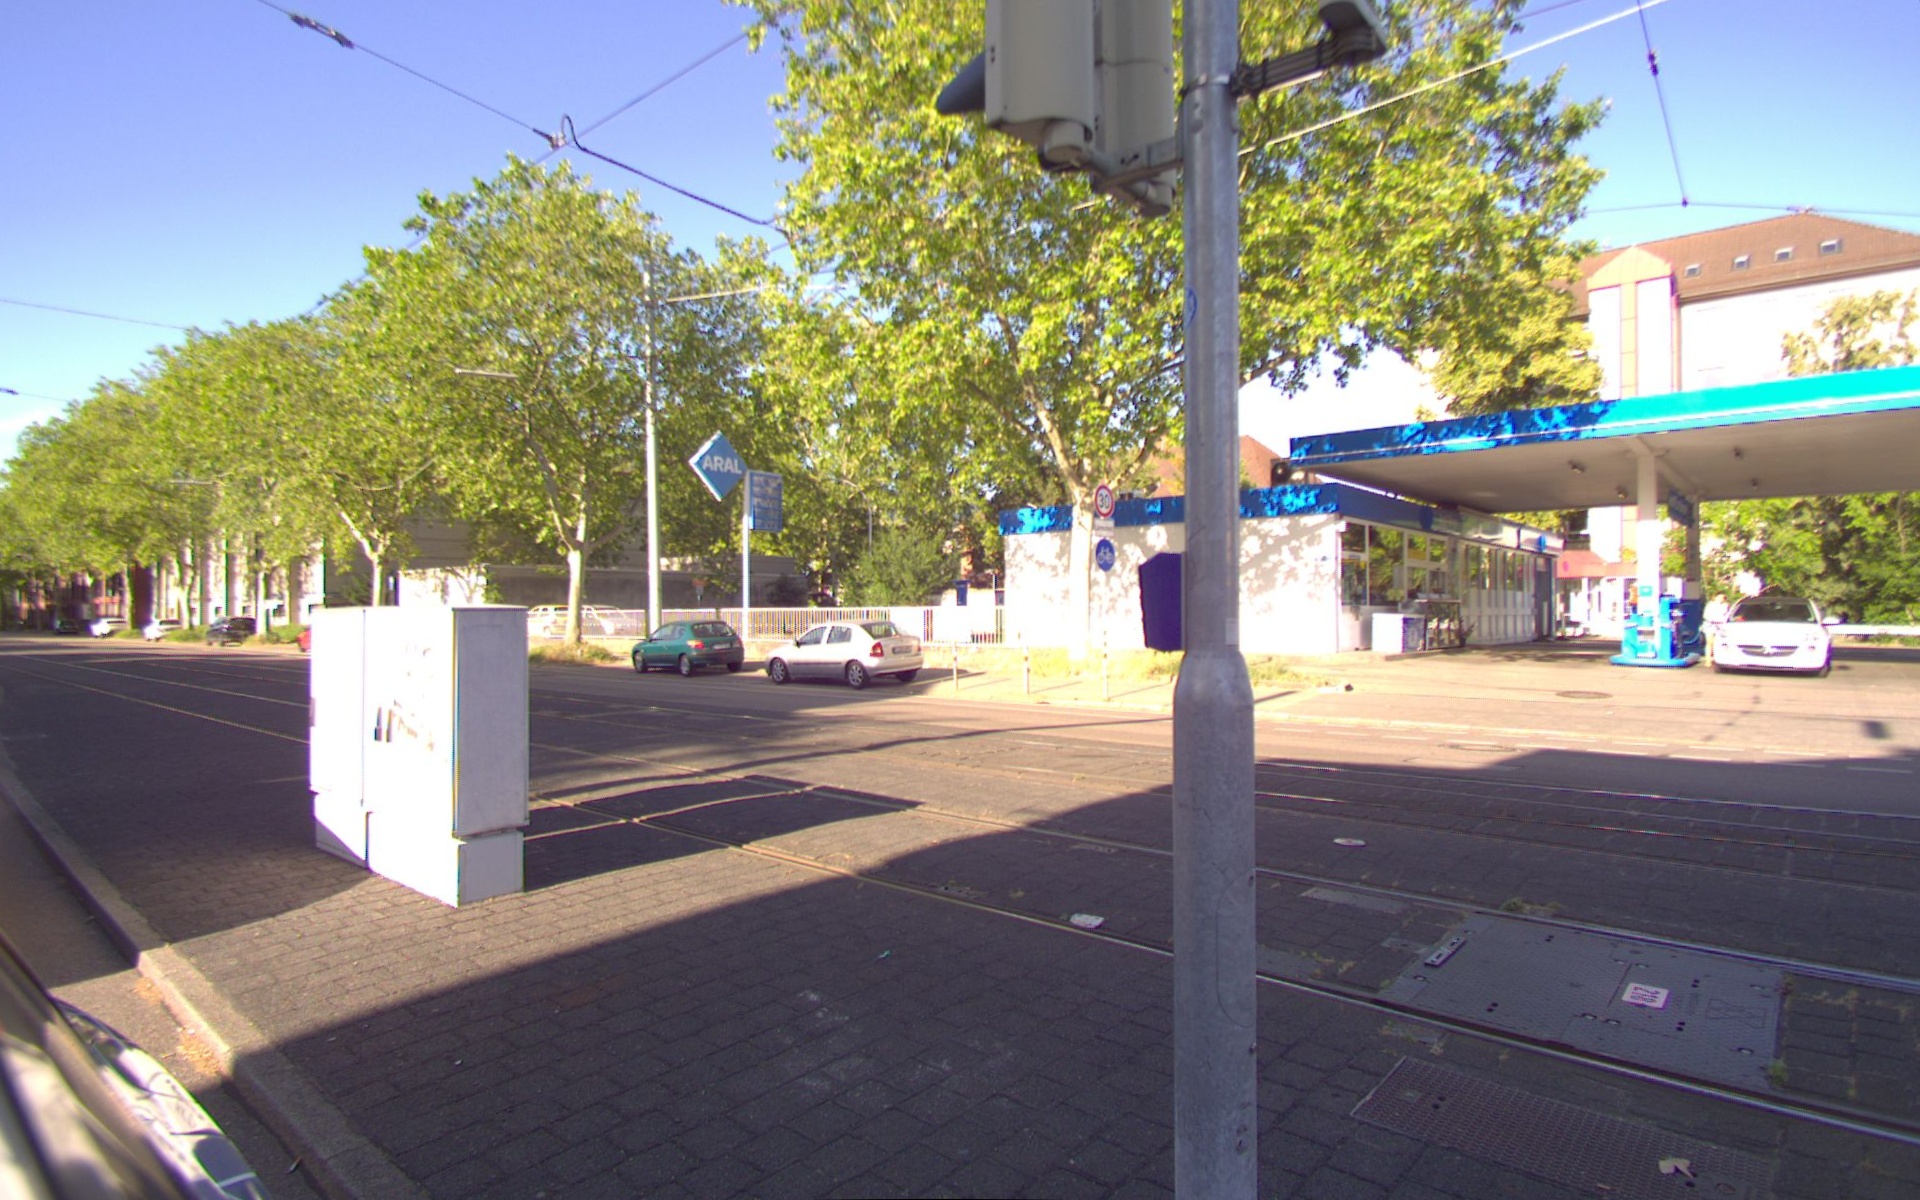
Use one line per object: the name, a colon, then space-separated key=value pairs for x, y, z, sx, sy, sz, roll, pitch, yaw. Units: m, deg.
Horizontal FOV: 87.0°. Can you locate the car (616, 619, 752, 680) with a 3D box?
car: x=-7.430 y=1.274 z=27.072 sx=3.858 sy=1.408 sz=1.722 roll=-1 pitch=1 yaw=43

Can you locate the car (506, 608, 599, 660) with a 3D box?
car: x=-17.041 y=1.393 z=42.258 sx=3.996 sy=2.029 sz=1.974 roll=-1 pitch=-1 yaw=39

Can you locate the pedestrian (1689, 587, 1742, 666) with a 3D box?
pedestrian: x=16.090 y=0.558 z=21.571 sx=0.642 sy=1.642 sz=0.808 roll=-1 pitch=-1 yaw=19

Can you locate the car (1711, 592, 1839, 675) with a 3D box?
car: x=15.944 y=0.616 z=19.778 sx=1.793 sy=1.453 sz=3.946 roll=-1 pitch=-1 yaw=40

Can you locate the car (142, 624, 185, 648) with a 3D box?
car: x=-53.635 y=2.395 z=68.117 sx=3.858 sy=1.495 sz=1.735 roll=-1 pitch=0 yaw=43

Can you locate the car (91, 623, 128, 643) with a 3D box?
car: x=-66.923 y=2.575 z=79.636 sx=3.858 sy=1.495 sz=1.735 roll=-1 pitch=0 yaw=43

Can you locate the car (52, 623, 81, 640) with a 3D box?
car: x=-84.870 y=3.007 z=96.111 sx=3.858 sy=1.495 sz=1.735 roll=-1 pitch=0 yaw=43

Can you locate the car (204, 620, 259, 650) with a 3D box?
car: x=-40.672 y=1.953 z=56.481 sx=3.858 sy=1.557 sz=1.735 roll=-1 pitch=0 yaw=43

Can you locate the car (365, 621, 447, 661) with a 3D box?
car: x=-21.982 y=1.586 z=40.087 sx=3.858 sy=1.468 sz=1.735 roll=-1 pitch=0 yaw=43

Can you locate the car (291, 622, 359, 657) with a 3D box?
car: x=-28.909 y=1.772 z=46.041 sx=3.858 sy=1.440 sz=1.695 roll=-1 pitch=0 yaw=43

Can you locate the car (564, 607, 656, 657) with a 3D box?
car: x=-15.142 y=1.364 z=43.686 sx=3.996 sy=2.029 sz=1.974 roll=-1 pitch=-1 yaw=39

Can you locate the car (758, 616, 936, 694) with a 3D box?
car: x=-2.570 y=1.167 z=22.592 sx=3.857 sy=1.497 sz=1.823 roll=-1 pitch=1 yaw=42
